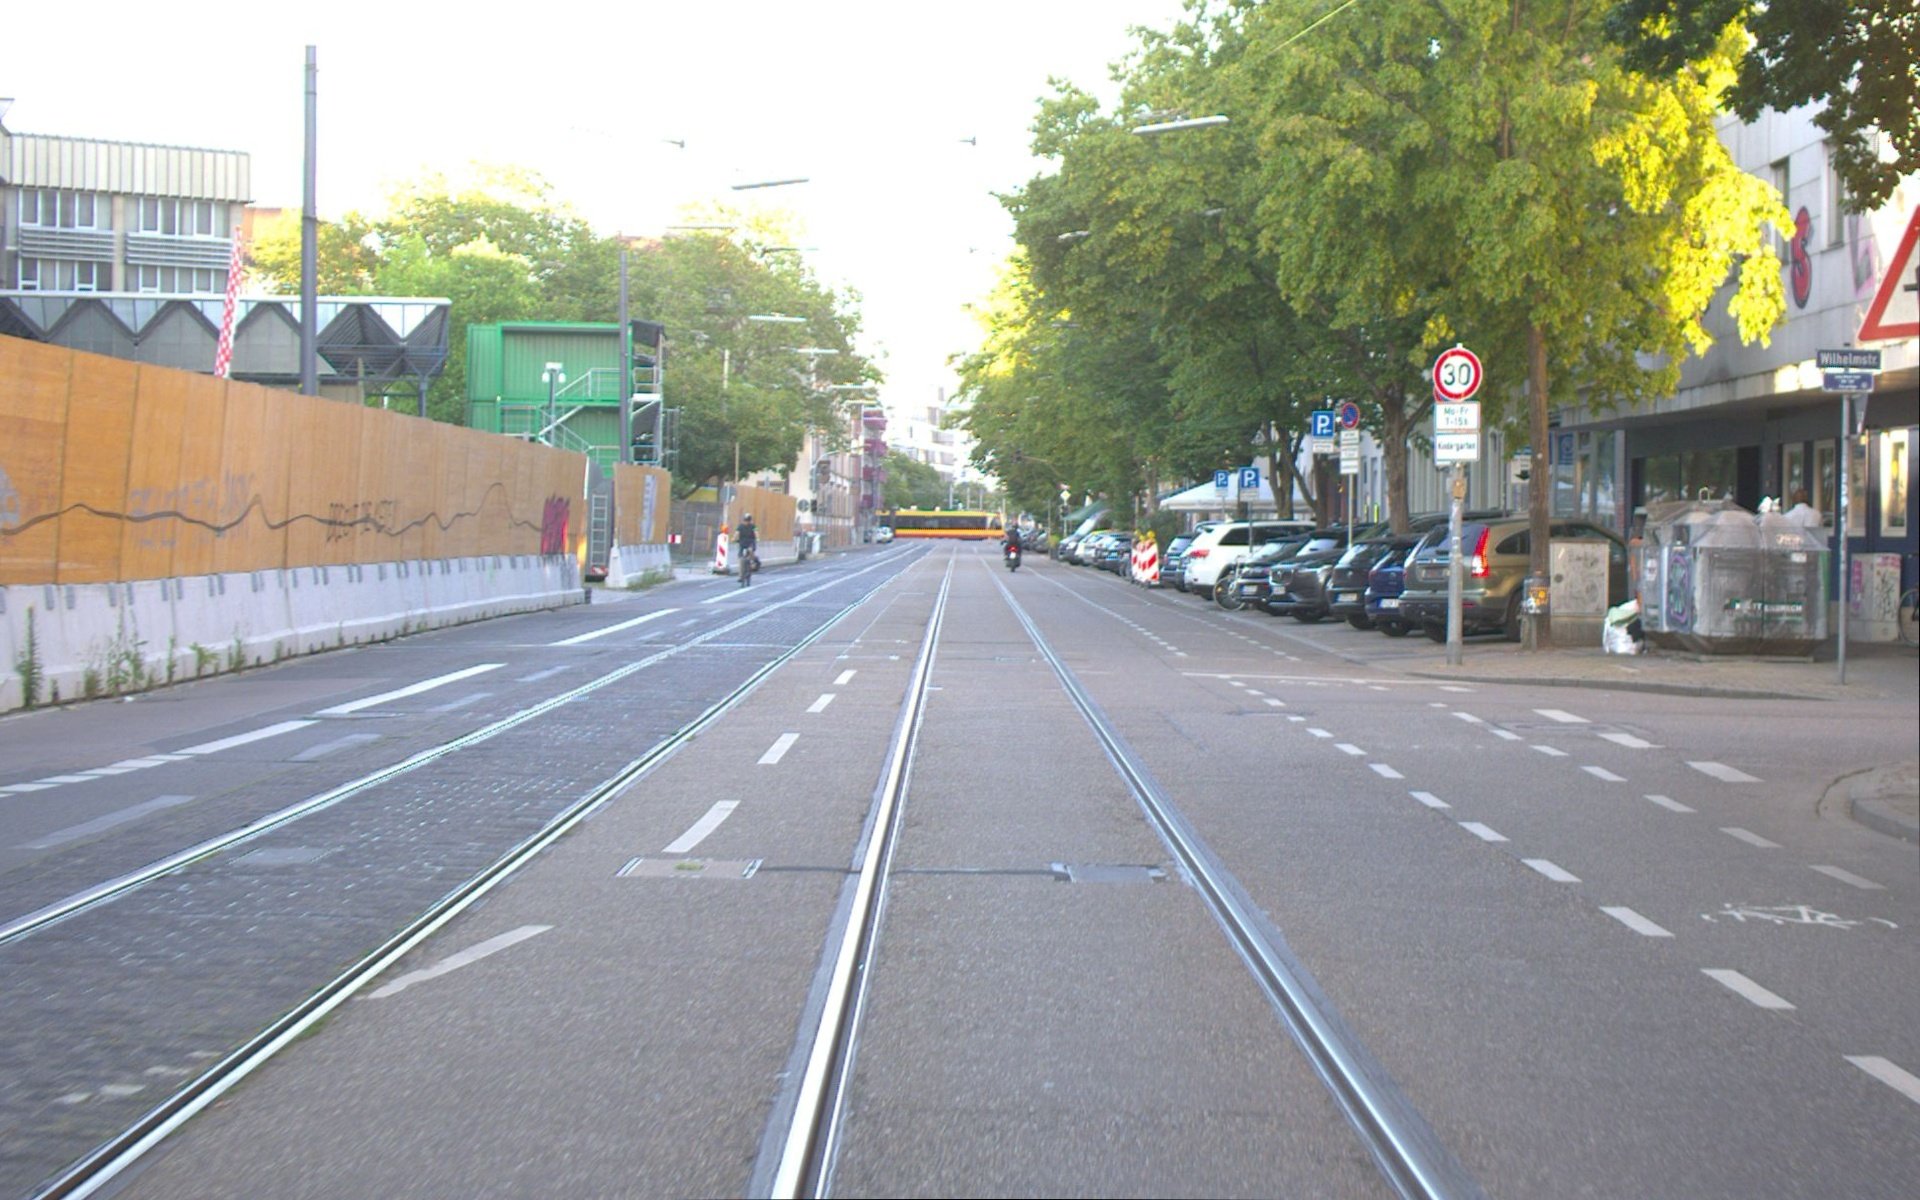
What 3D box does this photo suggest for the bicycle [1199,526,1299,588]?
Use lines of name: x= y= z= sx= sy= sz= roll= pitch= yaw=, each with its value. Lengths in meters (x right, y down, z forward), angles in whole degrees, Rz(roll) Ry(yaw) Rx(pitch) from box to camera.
bicycle: x=5.597 y=-0.841 z=66.567 sx=1.835 sy=1.099 sz=0.498 roll=-3 pitch=2 yaw=-13

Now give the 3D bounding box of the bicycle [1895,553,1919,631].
bicycle: x=11.202 y=-0.094 z=39.731 sx=0.340 sy=0.879 sz=1.327 roll=-2 pitch=1 yaw=-2

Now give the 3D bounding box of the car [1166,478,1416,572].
car: x=6.559 y=-1.495 z=68.500 sx=4.648 sy=1.682 sz=2.008 roll=-2 pitch=1 yaw=-4

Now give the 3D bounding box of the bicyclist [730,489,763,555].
bicyclist: x=-5.427 y=-1.977 z=87.263 sx=0.768 sy=1.660 sz=1.018 roll=0 pitch=1 yaw=0

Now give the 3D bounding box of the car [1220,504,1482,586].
car: x=6.989 y=-1.000 z=61.544 sx=4.211 sy=1.421 sz=1.977 roll=0 pitch=2 yaw=-22

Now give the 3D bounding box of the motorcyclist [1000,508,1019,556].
motorcyclist: x=1.768 y=-2.434 z=123.384 sx=0.645 sy=1.691 sz=1.026 roll=1 pitch=0 yaw=-1

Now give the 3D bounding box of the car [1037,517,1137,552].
car: x=5.646 y=-2.912 z=152.629 sx=3.949 sy=1.481 sz=1.921 roll=-1 pitch=0 yaw=-23

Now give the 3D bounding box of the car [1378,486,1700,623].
car: x=7.924 y=-0.631 z=46.897 sx=4.155 sy=1.658 sz=1.842 roll=-3 pitch=2 yaw=-34

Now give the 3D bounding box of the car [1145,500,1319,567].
car: x=6.745 y=-1.649 z=85.250 sx=3.960 sy=1.548 sz=1.706 roll=-2 pitch=1 yaw=-25

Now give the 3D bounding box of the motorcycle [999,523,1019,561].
motorcycle: x=1.764 y=-2.077 z=123.265 sx=0.645 sy=1.364 sz=1.812 roll=1 pitch=0 yaw=-1

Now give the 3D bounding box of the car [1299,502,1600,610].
car: x=7.523 y=-0.687 z=52.825 sx=4.154 sy=1.460 sz=1.972 roll=-3 pitch=2 yaw=-27

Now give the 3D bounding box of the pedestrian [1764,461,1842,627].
pedestrian: x=10.294 y=-0.689 z=42.008 sx=0.691 sy=1.978 sz=0.786 roll=-2 pitch=1 yaw=0

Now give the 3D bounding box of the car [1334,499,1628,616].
car: x=7.571 y=-0.627 z=49.887 sx=3.882 sy=1.497 sz=1.814 roll=-3 pitch=2 yaw=-30

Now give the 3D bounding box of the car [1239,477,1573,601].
car: x=7.388 y=-1.019 z=57.058 sx=4.962 sy=1.820 sz=2.209 roll=-3 pitch=2 yaw=-18

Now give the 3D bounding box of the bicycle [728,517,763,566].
bicycle: x=-5.433 y=-1.485 z=87.247 sx=0.768 sy=1.224 sz=1.936 roll=0 pitch=1 yaw=0

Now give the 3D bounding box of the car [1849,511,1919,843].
car: x=6.589 y=0.267 z=16.591 sx=4.593 sy=1.508 sz=1.862 roll=-3 pitch=3 yaw=-34

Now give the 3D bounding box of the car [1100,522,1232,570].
car: x=7.086 y=-1.853 z=118.245 sx=4.115 sy=1.465 sz=1.824 roll=-3 pitch=2 yaw=-17
